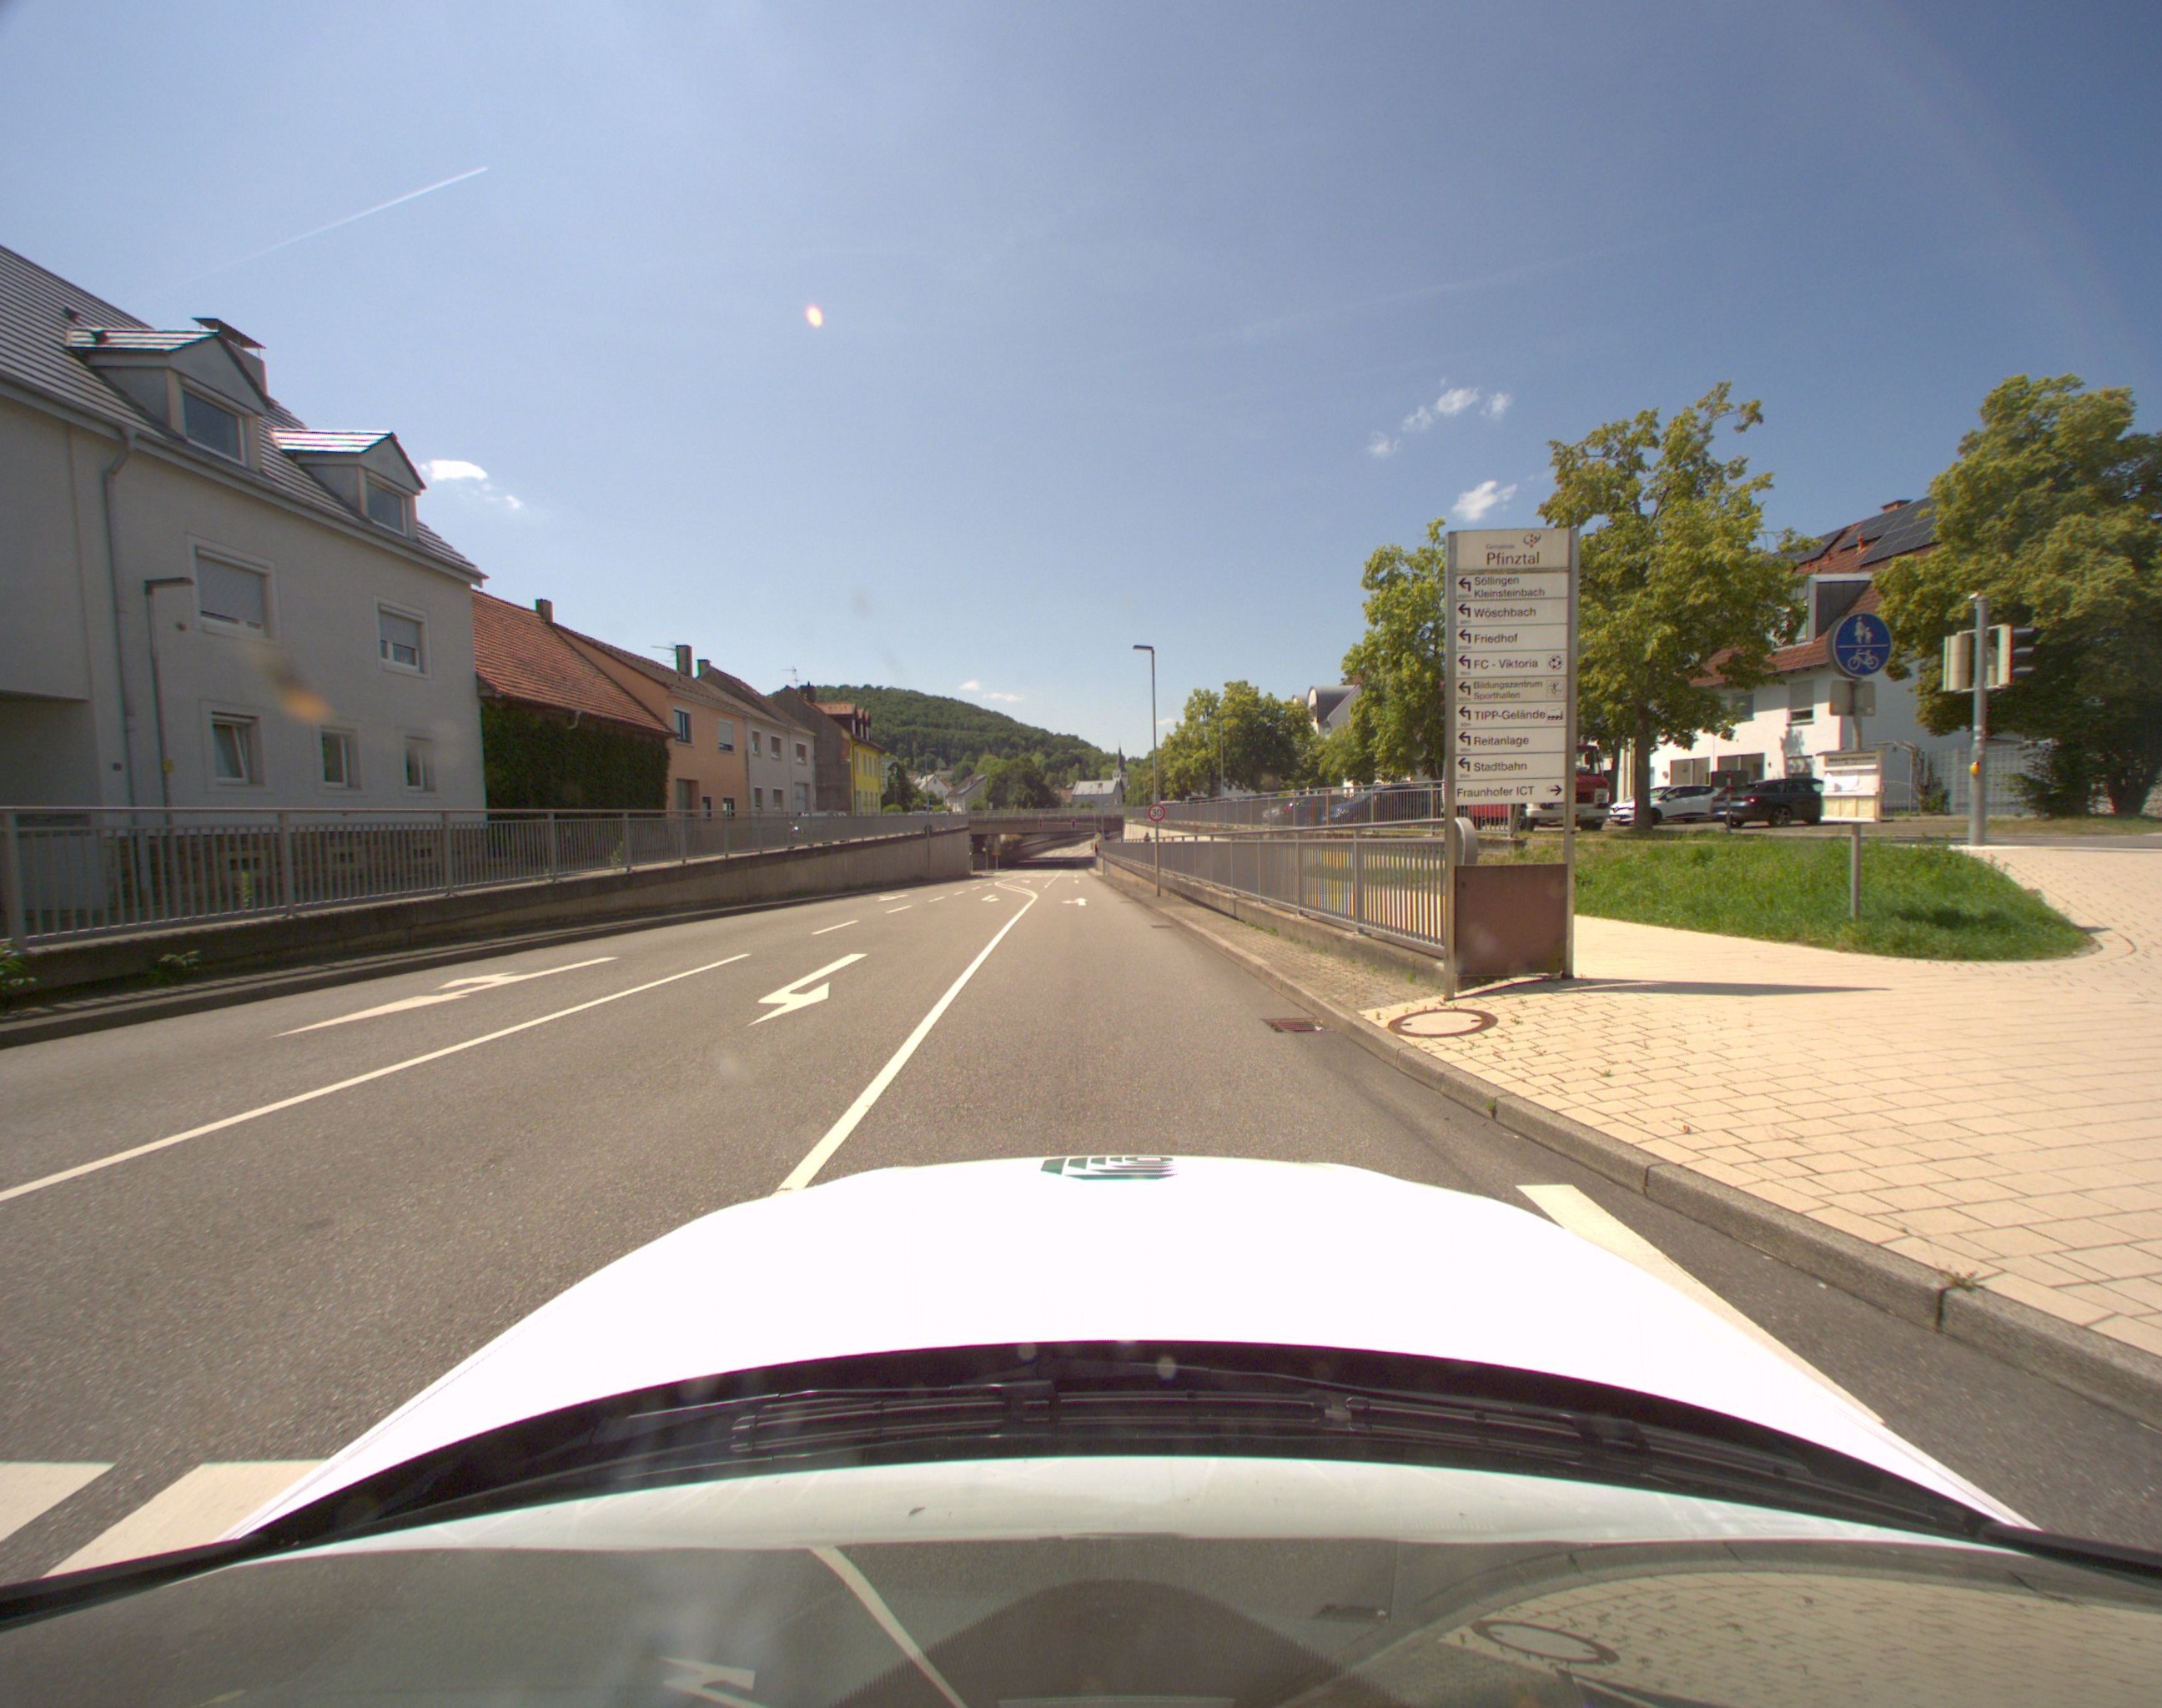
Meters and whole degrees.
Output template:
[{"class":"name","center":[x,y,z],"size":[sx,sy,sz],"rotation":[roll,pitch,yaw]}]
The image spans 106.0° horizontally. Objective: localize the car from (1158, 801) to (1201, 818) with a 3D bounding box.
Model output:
[{"class":"car","center":[9.396,-4.216,78.015],"size":[3.971,1.486,1.771],"rotation":[0,0,2]}]

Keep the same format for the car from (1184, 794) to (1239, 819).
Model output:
[{"class":"car","center":[10.025,-3.625,62.726],"size":[3.971,1.770,1.771],"rotation":[0,0,2]}]

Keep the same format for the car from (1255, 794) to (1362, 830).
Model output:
[{"class":"car","center":[9.308,-1.724,33.583],"size":[3.972,1.427,1.726],"rotation":[-1,2,1]}]

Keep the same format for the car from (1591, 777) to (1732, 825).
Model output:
[{"class":"car","center":[21.470,-1.942,30.219],"size":[3.977,1.629,1.862],"rotation":[0,0,-2]}]

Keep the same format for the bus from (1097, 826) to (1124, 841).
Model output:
[{"class":"bus","center":[6.652,-4.524,181.142],"size":[2.560,3.172,12.436],"rotation":[0,2,18]}]

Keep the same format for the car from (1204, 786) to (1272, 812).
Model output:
[{"class":"car","center":[9.792,-3.414,50.969],"size":[3.971,1.486,1.771],"rotation":[0,0,2]}]

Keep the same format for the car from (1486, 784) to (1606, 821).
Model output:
[{"class":"car","center":[21.519,-2.383,37.784],"size":[4.471,1.479,2.000],"rotation":[-2,3,-1]}]

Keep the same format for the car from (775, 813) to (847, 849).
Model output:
[{"class":"car","center":[-11.598,-1.014,35.265],"size":[1.781,1.405,4.390],"rotation":[-1,2,-3]}]

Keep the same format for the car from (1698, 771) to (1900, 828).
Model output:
[{"class":"car","center":[21.812,-1.657,24.893],"size":[4.471,1.479,2.000],"rotation":[-2,3,-1]}]

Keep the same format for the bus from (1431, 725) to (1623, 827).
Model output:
[{"class":"bus","center":[11.928,-2.052,22.310],"size":[2.183,2.365,5.362],"rotation":[-3,4,-2]}]

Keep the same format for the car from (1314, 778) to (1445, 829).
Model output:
[{"class":"car","center":[10.531,-1.741,28.811],"size":[3.987,1.629,1.857],"rotation":[0,0,-10]}]
